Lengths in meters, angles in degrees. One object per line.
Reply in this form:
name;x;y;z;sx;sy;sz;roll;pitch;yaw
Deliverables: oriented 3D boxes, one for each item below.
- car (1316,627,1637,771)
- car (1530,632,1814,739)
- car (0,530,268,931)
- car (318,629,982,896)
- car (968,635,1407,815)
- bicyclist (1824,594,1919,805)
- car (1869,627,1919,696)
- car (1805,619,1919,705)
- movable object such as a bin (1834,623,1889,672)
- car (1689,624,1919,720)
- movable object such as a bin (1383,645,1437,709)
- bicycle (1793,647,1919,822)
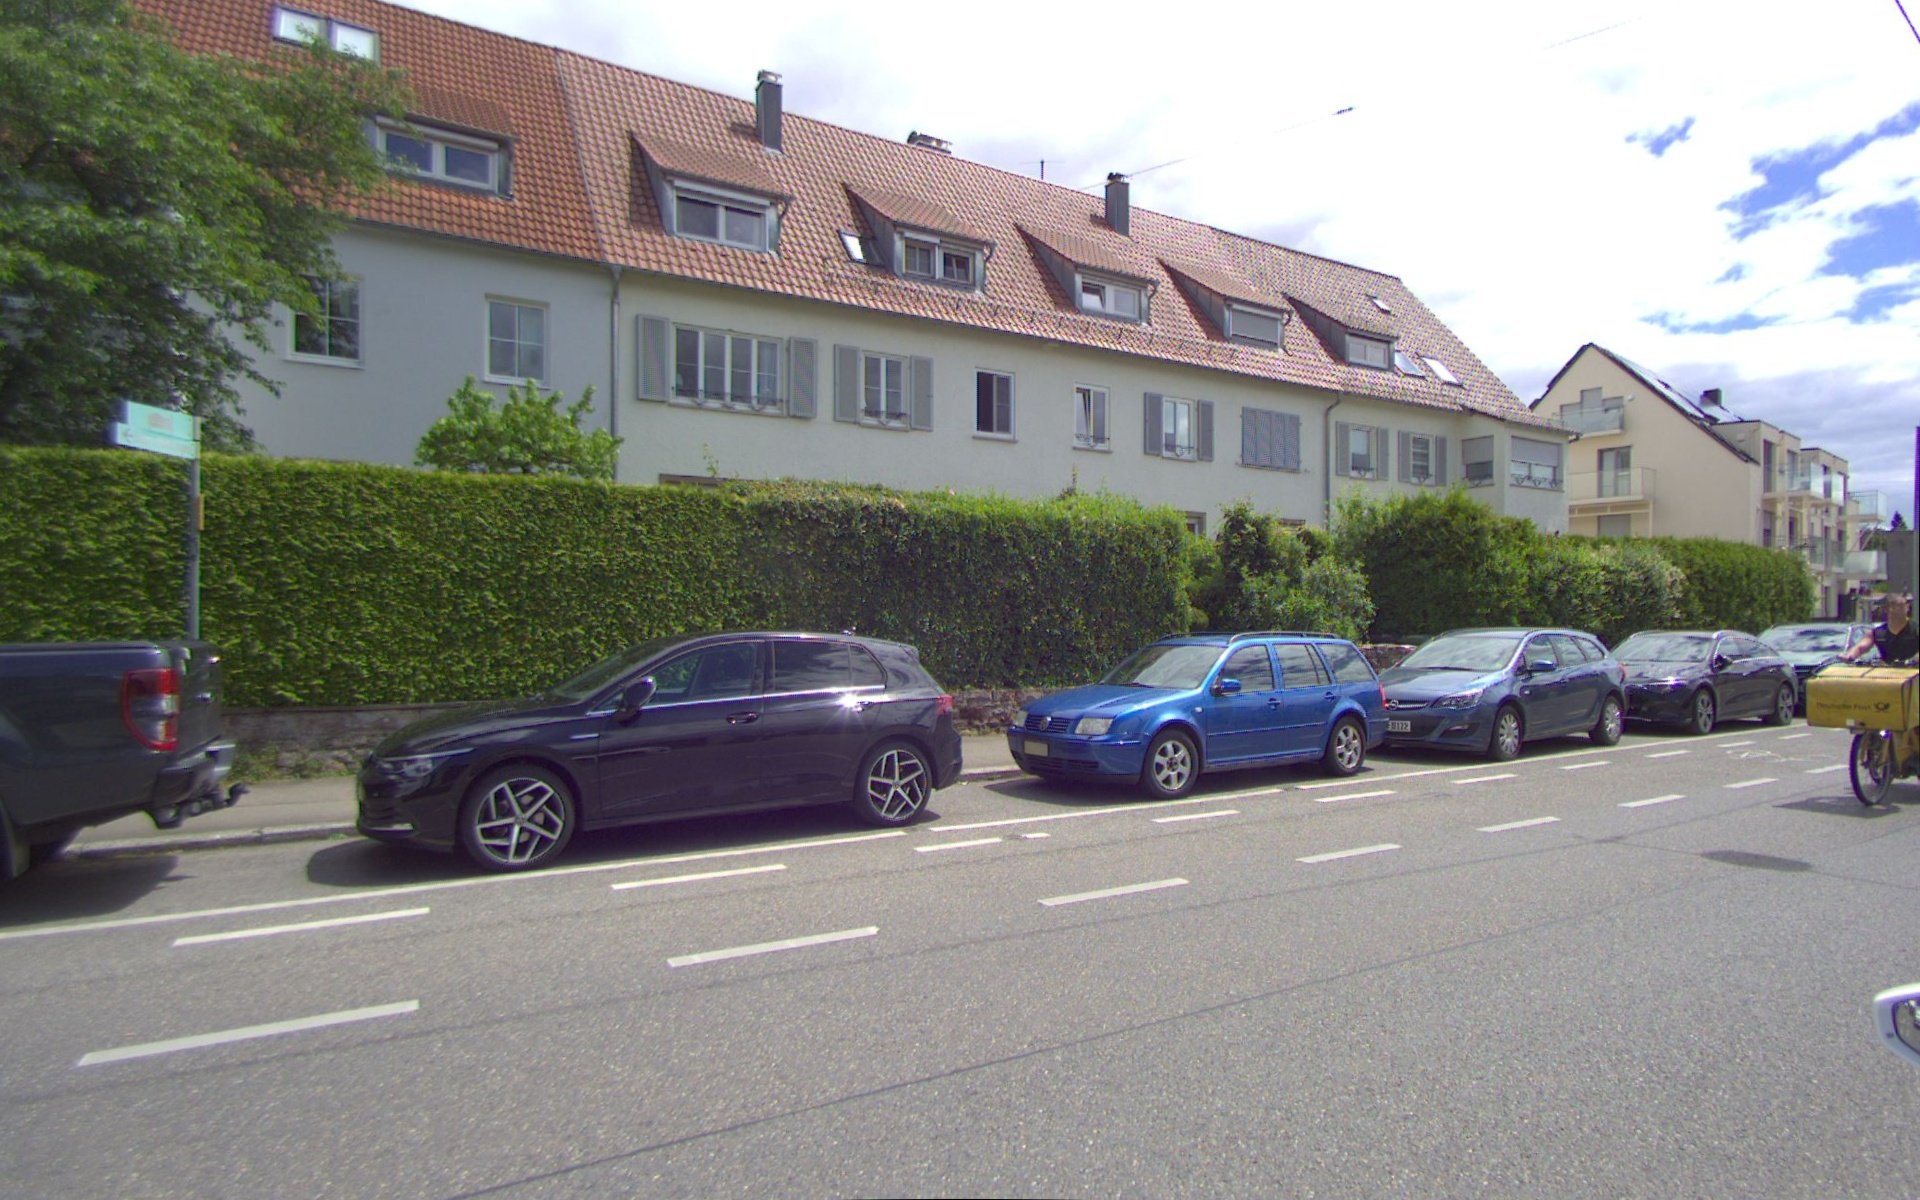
car;6.606;1.110;12.664;4.521;1.511;1.766;1;-1;-36
car;11.212;1.232;15.746;4.636;1.427;1.983;1;-1;-31
car;-6.645;0.635;4.775;5.340;1.920;1.984;1;-3;-31
car;-2.110;0.949;7.373;4.290;1.436;1.769;1;-1;-31
car;2.391;1.082;10.104;4.392;1.436;1.768;1;-1;-33
bicyclist;8.320;0.833;8.784;1.193;1.736;0.789;1;-1;-28
car;24.224;1.478;24.617;4.444;1.608;1.981;1;-1;-35
car;20.225;1.274;21.603;4.469;1.672;1.982;1;-1;-33
movable object such as a bin;28.502;1.478;31.770;1.202;1.501;1.058;1;-1;-35
car;15.890;1.260;18.831;4.636;1.584;1.983;1;-1;-31
movable object such as a bin;7.589;1.289;16.946;0.629;1.016;0.572;1;1;-36
bicycle;8.437;1.093;8.818;2.629;1.319;0.860;1;-1;-30
